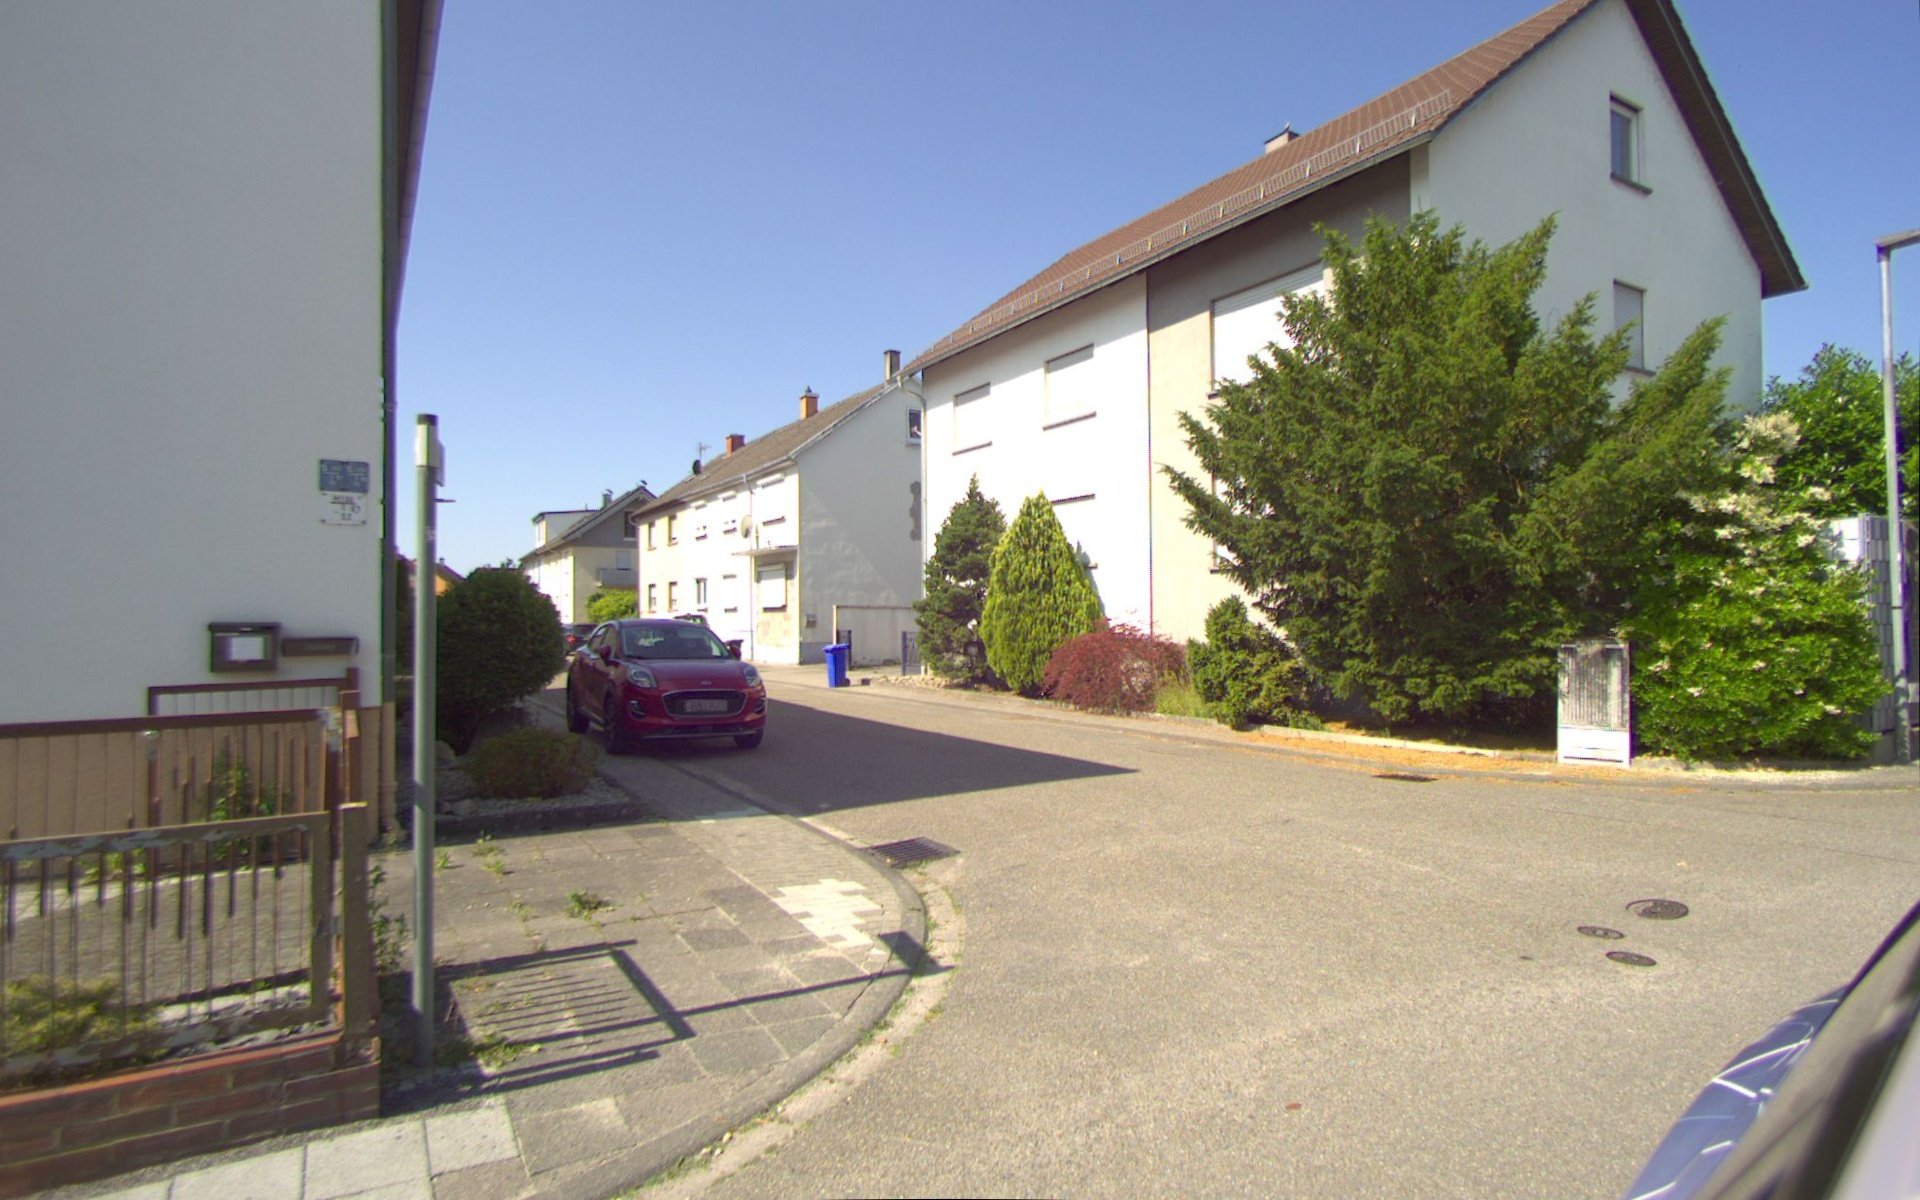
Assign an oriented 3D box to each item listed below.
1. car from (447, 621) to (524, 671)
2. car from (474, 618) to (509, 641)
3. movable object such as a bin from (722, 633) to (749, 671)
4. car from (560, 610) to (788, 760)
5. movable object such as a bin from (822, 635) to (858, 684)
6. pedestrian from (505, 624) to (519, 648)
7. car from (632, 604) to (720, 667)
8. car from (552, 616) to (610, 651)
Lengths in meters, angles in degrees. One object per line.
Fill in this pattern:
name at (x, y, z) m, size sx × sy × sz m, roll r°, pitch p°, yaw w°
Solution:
car at (-14.815, 1.386, 31.507) m, size 1.761 × 1.428 × 4.001 m, roll 0°, pitch -1°, yaw -31°
car at (-34.214, 2.139, 73.903) m, size 1.893 × 1.552 × 4.002 m, roll -2°, pitch -1°, yaw -30°
movable object such as a bin at (-6.375, 1.472, 28.718) m, size 0.591 × 1.043 × 0.596 m, roll 0°, pitch -2°, yaw -31°
car at (-3.753, 0.943, 12.773) m, size 1.761 × 1.550 × 4.001 m, roll 0°, pitch -1°, yaw -31°
movable object such as a bin at (-2.648, 1.309, 22.306) m, size 0.591 × 1.043 × 0.596 m, roll 0°, pitch -2°, yaw -31°
pedestrian at (-26.911, 2.172, 60.742) m, size 0.643 × 1.400 × 0.627 m, roll -2°, pitch -1°, yaw -33°
car at (-9.366, 1.149, 33.169) m, size 1.761 × 1.861 × 4.002 m, roll -2°, pitch -1°, yaw -30°
car at (-17.081, 1.498, 45.468) m, size 1.761 × 1.400 × 4.002 m, roll -2°, pitch -1°, yaw -30°
